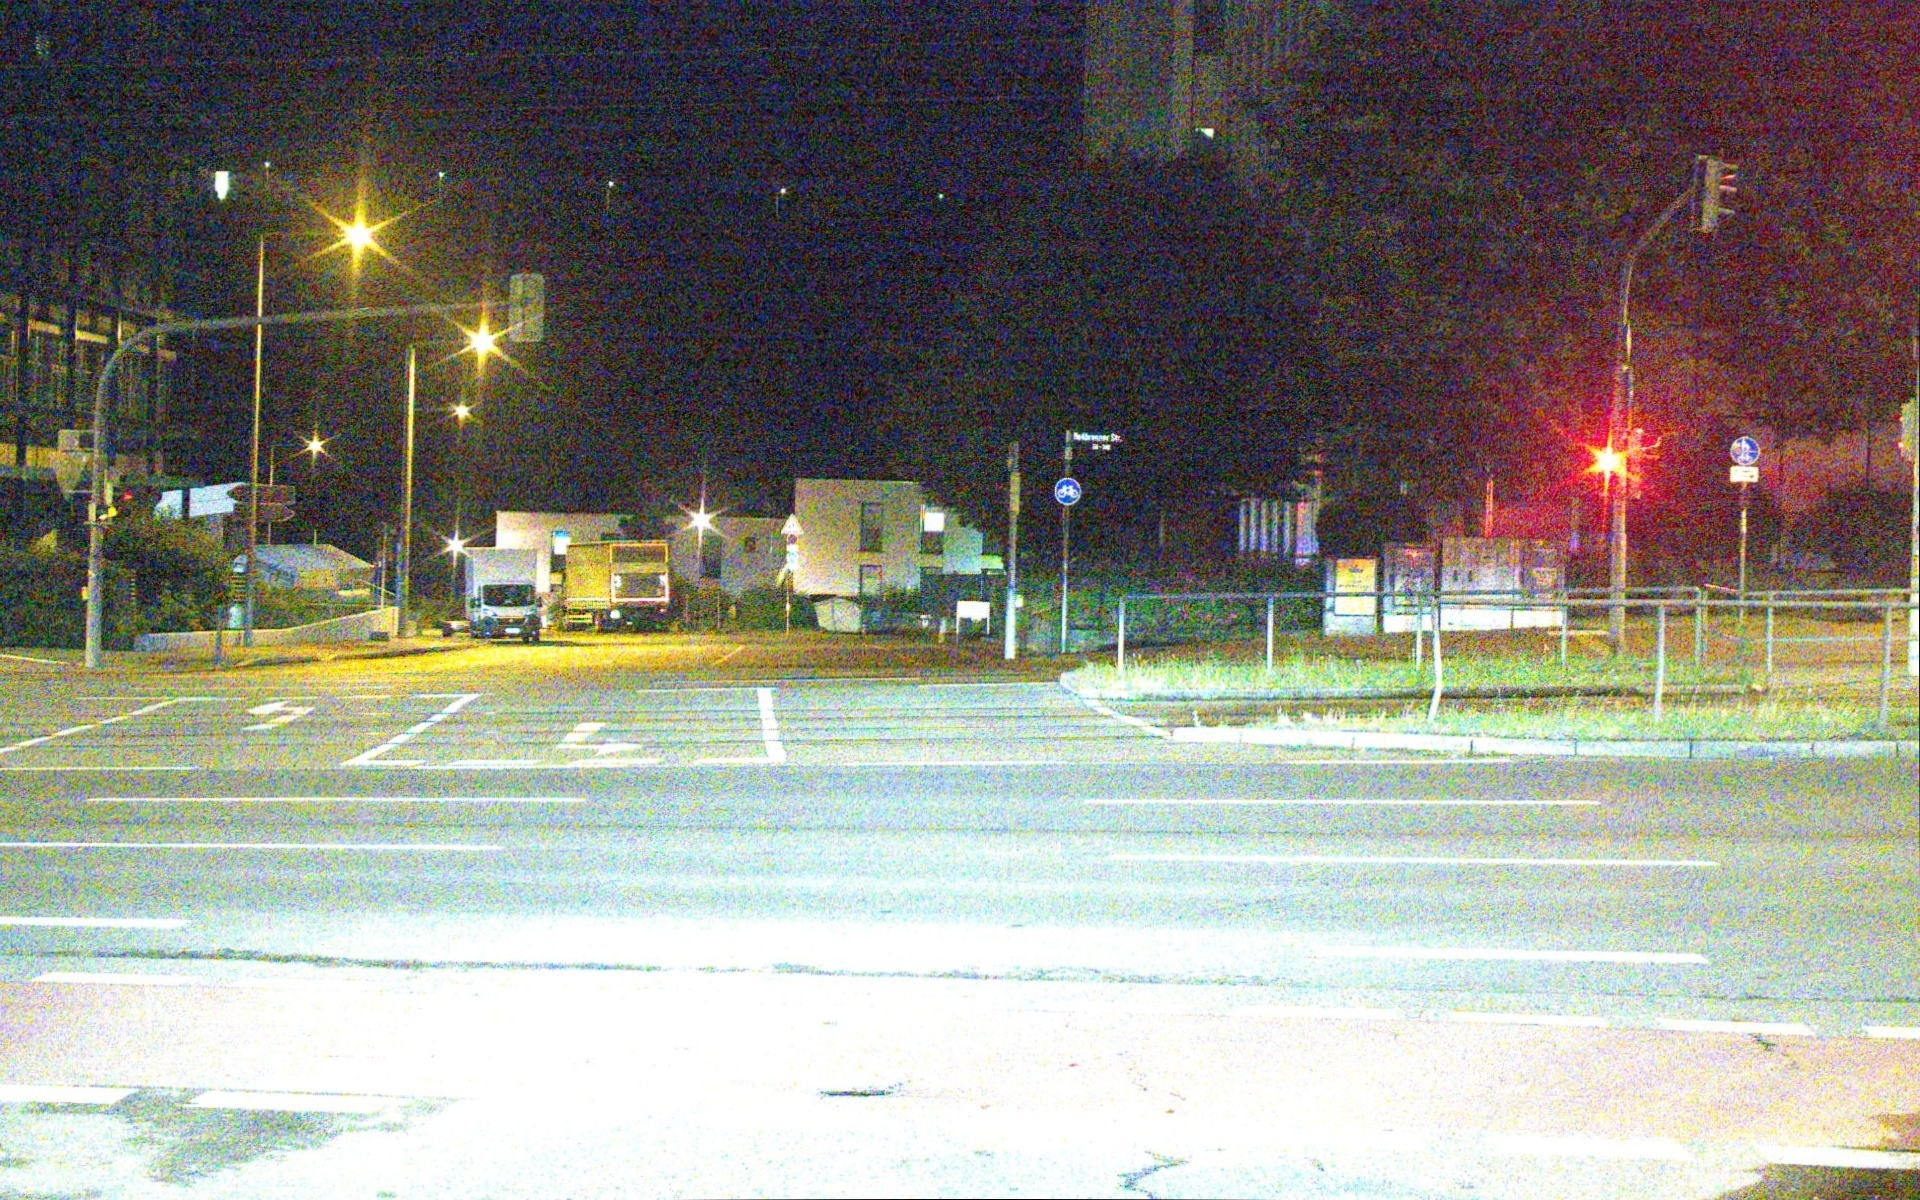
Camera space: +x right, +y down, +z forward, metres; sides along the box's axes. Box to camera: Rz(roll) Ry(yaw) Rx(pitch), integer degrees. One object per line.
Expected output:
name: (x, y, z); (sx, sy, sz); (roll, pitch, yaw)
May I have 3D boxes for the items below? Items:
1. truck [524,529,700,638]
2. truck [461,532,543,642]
truck: (-15.453, -0.764, 151.234); (4.821, 4.531, 12.669); (1, 1, -19)
truck: (-15.933, -0.473, 119.372); (2.582, 3.694, 5.739); (1, 1, -9)
